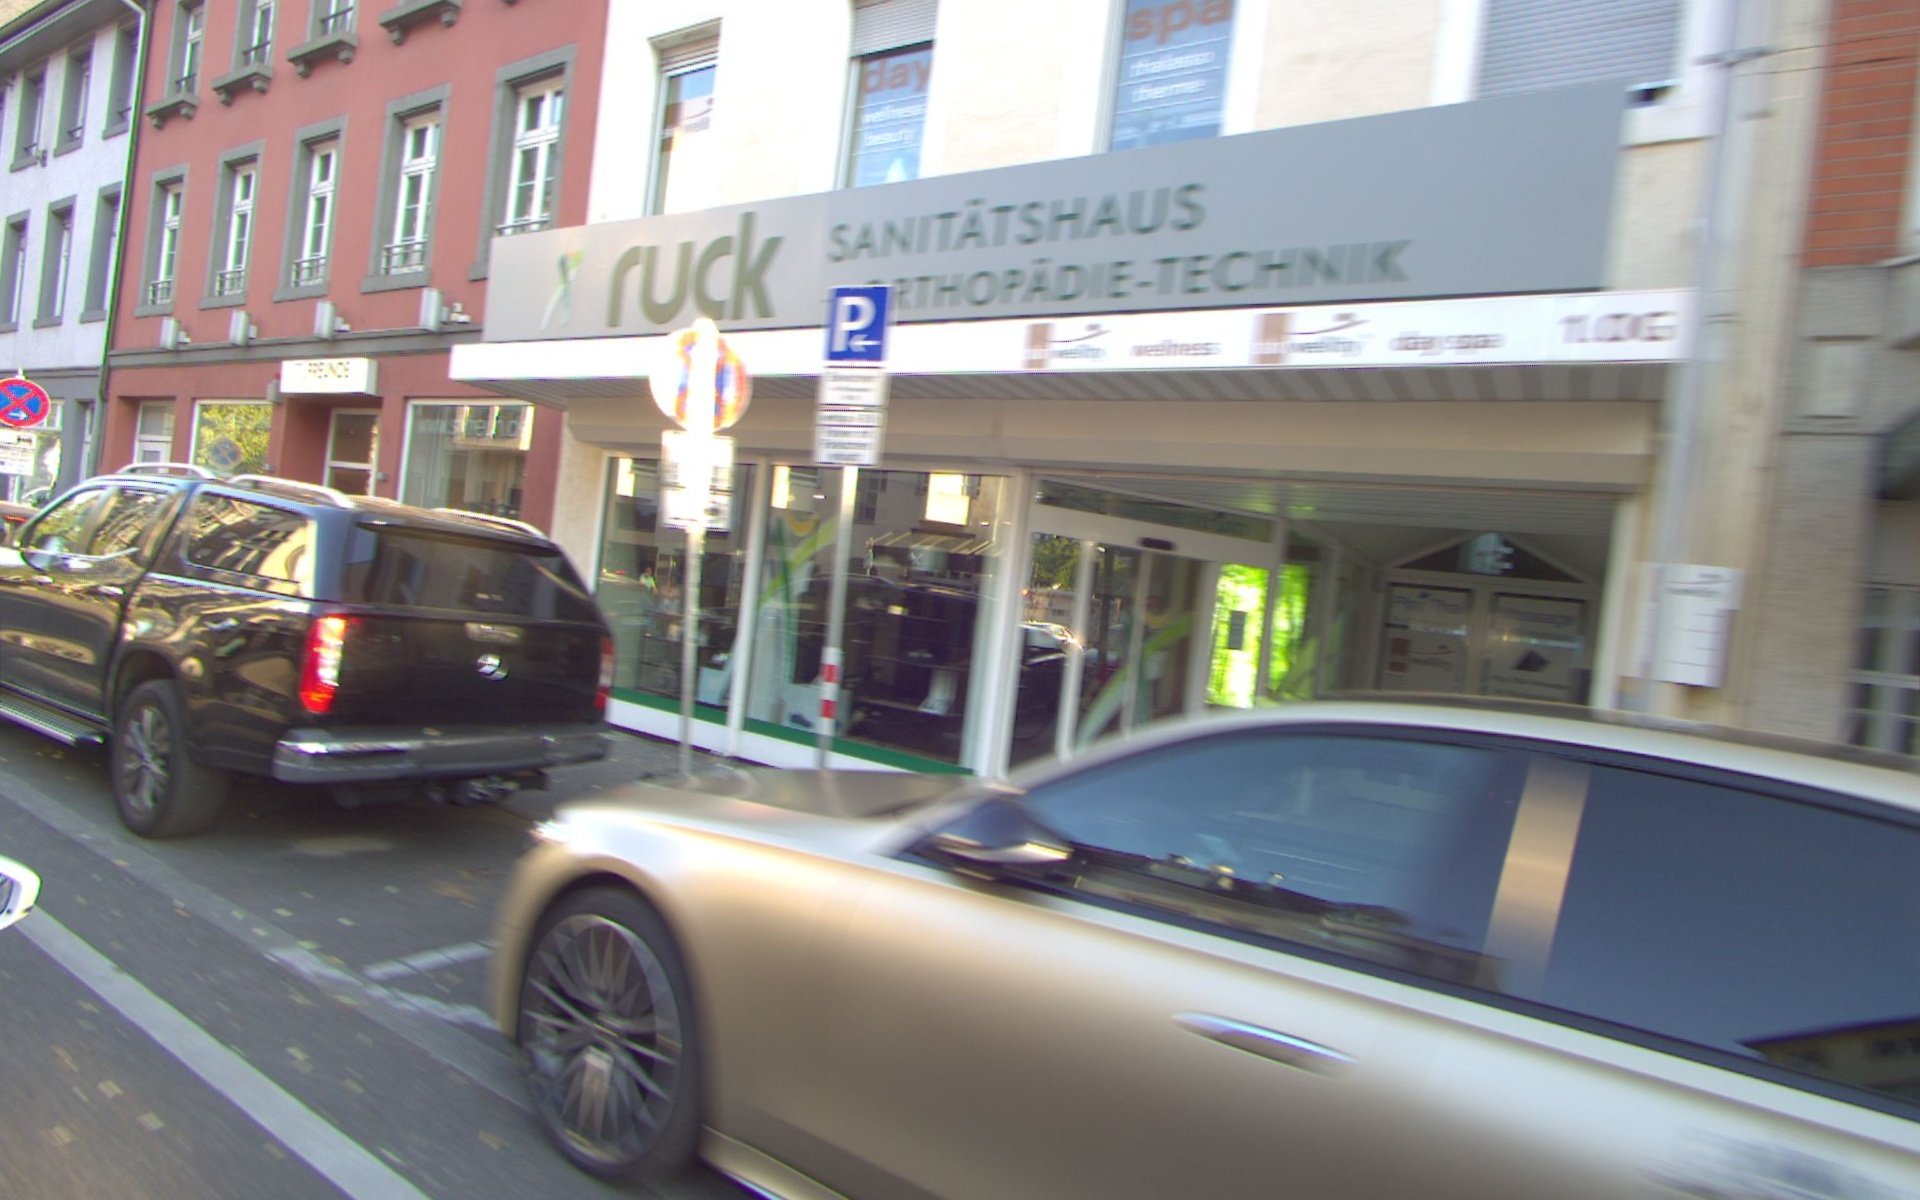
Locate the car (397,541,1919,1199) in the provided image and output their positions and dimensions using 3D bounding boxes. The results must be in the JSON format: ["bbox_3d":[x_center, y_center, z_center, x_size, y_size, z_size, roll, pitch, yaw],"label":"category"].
[{"bbox_3d":[0.963,0.913,2.328,4.913,1.545,1.814,6,-2,34],"label":"car"}]

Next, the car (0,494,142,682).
[{"bbox_3d":[-9.592,-0.305,9.332,4.236,1.501,1.765,6,-2,33],"label":"car"}]

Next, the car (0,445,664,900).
[{"bbox_3d":[-4.374,0.171,6.127,4.973,1.775,1.887,7,-2,30],"label":"car"}]
